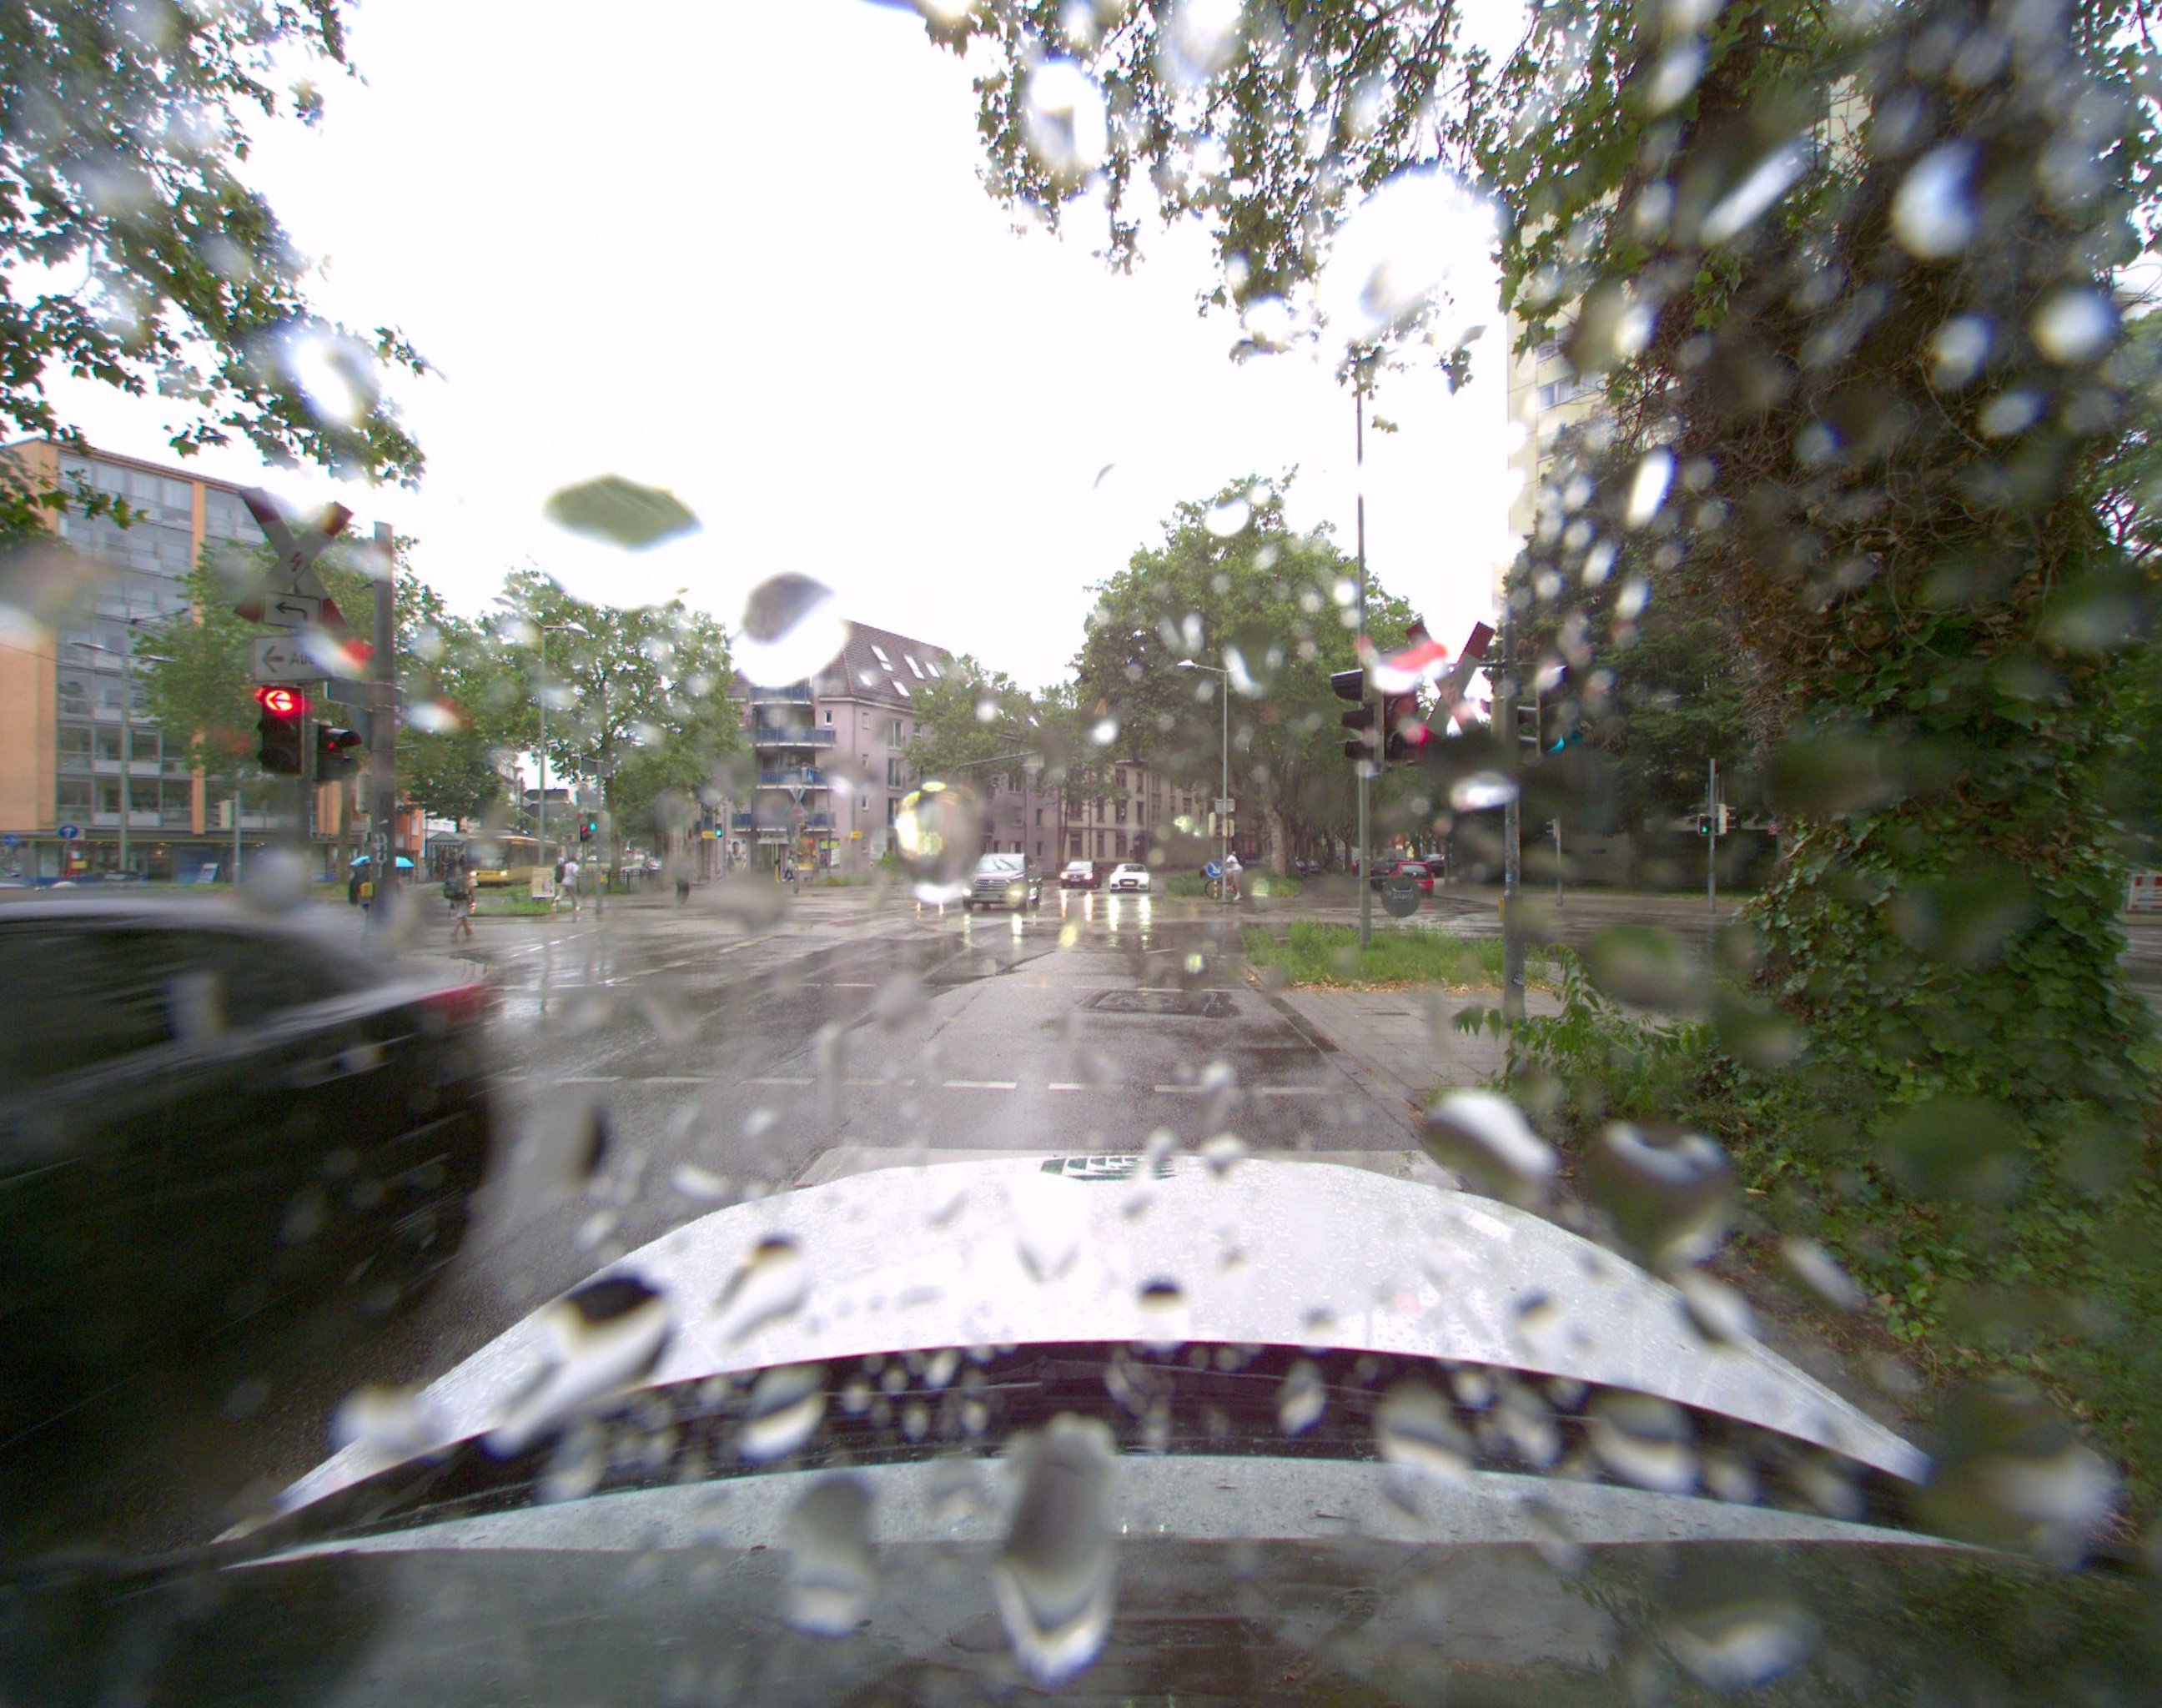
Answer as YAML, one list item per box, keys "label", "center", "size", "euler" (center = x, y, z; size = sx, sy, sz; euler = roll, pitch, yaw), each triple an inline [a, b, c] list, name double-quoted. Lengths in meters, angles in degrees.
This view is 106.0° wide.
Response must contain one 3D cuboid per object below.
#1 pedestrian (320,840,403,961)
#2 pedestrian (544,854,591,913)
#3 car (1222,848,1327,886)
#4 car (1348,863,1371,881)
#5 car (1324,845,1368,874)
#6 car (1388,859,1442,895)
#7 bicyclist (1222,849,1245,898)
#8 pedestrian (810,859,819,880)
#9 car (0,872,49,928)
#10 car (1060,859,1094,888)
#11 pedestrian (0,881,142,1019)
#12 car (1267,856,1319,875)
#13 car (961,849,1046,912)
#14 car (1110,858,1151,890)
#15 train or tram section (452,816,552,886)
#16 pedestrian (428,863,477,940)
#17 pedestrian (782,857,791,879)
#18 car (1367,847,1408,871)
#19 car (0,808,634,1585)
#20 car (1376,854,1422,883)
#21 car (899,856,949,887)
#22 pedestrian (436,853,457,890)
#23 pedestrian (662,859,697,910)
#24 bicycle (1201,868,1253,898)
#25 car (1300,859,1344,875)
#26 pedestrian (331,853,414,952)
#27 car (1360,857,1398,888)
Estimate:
- label: "pedestrian"
  center: [-11.403, 0.704, 12.934]
  size: [0.791, 1.855, 0.676]
  euler: [0, 0, -22]
- label: "pedestrian"
  center: [-14.181, 0.800, 22.507]
  size: [0.671, 1.600, 0.968]
  euler: [0, -1, 2]
- label: "car"
  center: [7.745, 0.519, 32.652]
  size: [3.958, 1.486, 2.008]
  euler: [-1, -1, 14]
- label: "car"
  center: [24.265, 1.539, 70.891]
  size: [1.666, 1.474, 3.683]
  euler: [-1, -1, 23]
- label: "car"
  center: [28.306, 0.593, 87.209]
  size: [2.040, 2.948, 4.742]
  euler: [0, -1, -18]
- label: "car"
  center: [14.818, 0.983, 36.325]
  size: [1.778, 1.498, 4.017]
  euler: [0, 0, 16]
- label: "bicyclist"
  center: [5.683, 0.715, 30.355]
  size: [0.790, 1.786, 0.699]
  euler: [-1, -1, 9]
- label: "pedestrian"
  center: [-17.299, 0.998, 52.852]
  size: [0.443, 1.329, 0.561]
  euler: [0, -1, -3]
- label: "car"
  center: [-32.266, 1.300, 23.389]
  size: [3.994, 1.530, 1.615]
  euler: [0, 1, 12]
- label: "car"
  center: [-0.165, 1.023, 43.769]
  size: [1.708, 1.459, 3.748]
  euler: [0, -1, 1]
- label: "pedestrian"
  center: [-10.554, 0.969, 8.520]
  size: [0.657, 1.349, 0.706]
  euler: [0, 0, -12]
- label: "car"
  center: [16.924, 0.890, 65.200]
  size: [3.958, 1.486, 2.008]
  euler: [-1, -1, 14]
- label: "car"
  center: [-2.223, 0.721, 24.586]
  size: [1.795, 1.682, 4.608]
  euler: [-1, 0, 4]
- label: "car"
  center: [2.387, 0.937, 39.161]
  size: [1.876, 1.436, 4.004]
  euler: [0, 0, 4]
- label: "train or tram section"
  center: [-36.660, -0.074, 52.268]
  size: [2.897, 3.768, 17.089]
  euler: [0, -1, -28]
- label: "pedestrian"
  center: [-11.869, 0.870, 15.396]
  size: [0.653, 1.396, 0.774]
  euler: [0, 0, -33]
- label: "pedestrian"
  center: [-19.144, 0.904, 52.868]
  size: [0.444, 1.457, 0.560]
  euler: [0, -1, -8]
- label: "car"
  center: [38.969, 0.648, 103.562]
  size: [2.006, 2.948, 4.726]
  euler: [0, -1, -29]
- label: "car"
  center: [-3.085, 0.702, 1.842]
  size: [1.745, 1.591, 4.235]
  euler: [0, 0, 1]
- label: "car"
  center: [15.885, 0.698, 40.861]
  size: [1.770, 1.348, 3.945]
  euler: [0, 1, 16]
- label: "car"
  center: [-8.016, 0.854, 41.827]
  size: [1.745, 1.512, 3.839]
  euler: [0, 0, 1]
- label: "pedestrian"
  center: [-38.188, 1.039, 49.023]
  size: [0.889, 2.151, 0.902]
  euler: [0, -1, -30]
- label: "pedestrian"
  center: [-12.236, 0.910, 24.860]
  size: [0.749, 1.533, 0.789]
  euler: [0, -1, -9]
- label: "bicycle"
  center: [5.443, 1.069, 30.388]
  size: [1.862, 1.081, 0.658]
  euler: [-1, -1, 9]
- label: "car"
  center: [23.122, 1.259, 78.252]
  size: [3.958, 1.547, 2.008]
  euler: [-1, -1, 14]
- label: "pedestrian"
  center: [-13.113, 0.868, 15.107]
  size: [0.962, 1.766, 0.944]
  euler: [0, -1, -28]
- label: "car"
  center: [17.315, 1.066, 47.417]
  size: [1.769, 1.727, 4.017]
  euler: [-1, -1, 16]
